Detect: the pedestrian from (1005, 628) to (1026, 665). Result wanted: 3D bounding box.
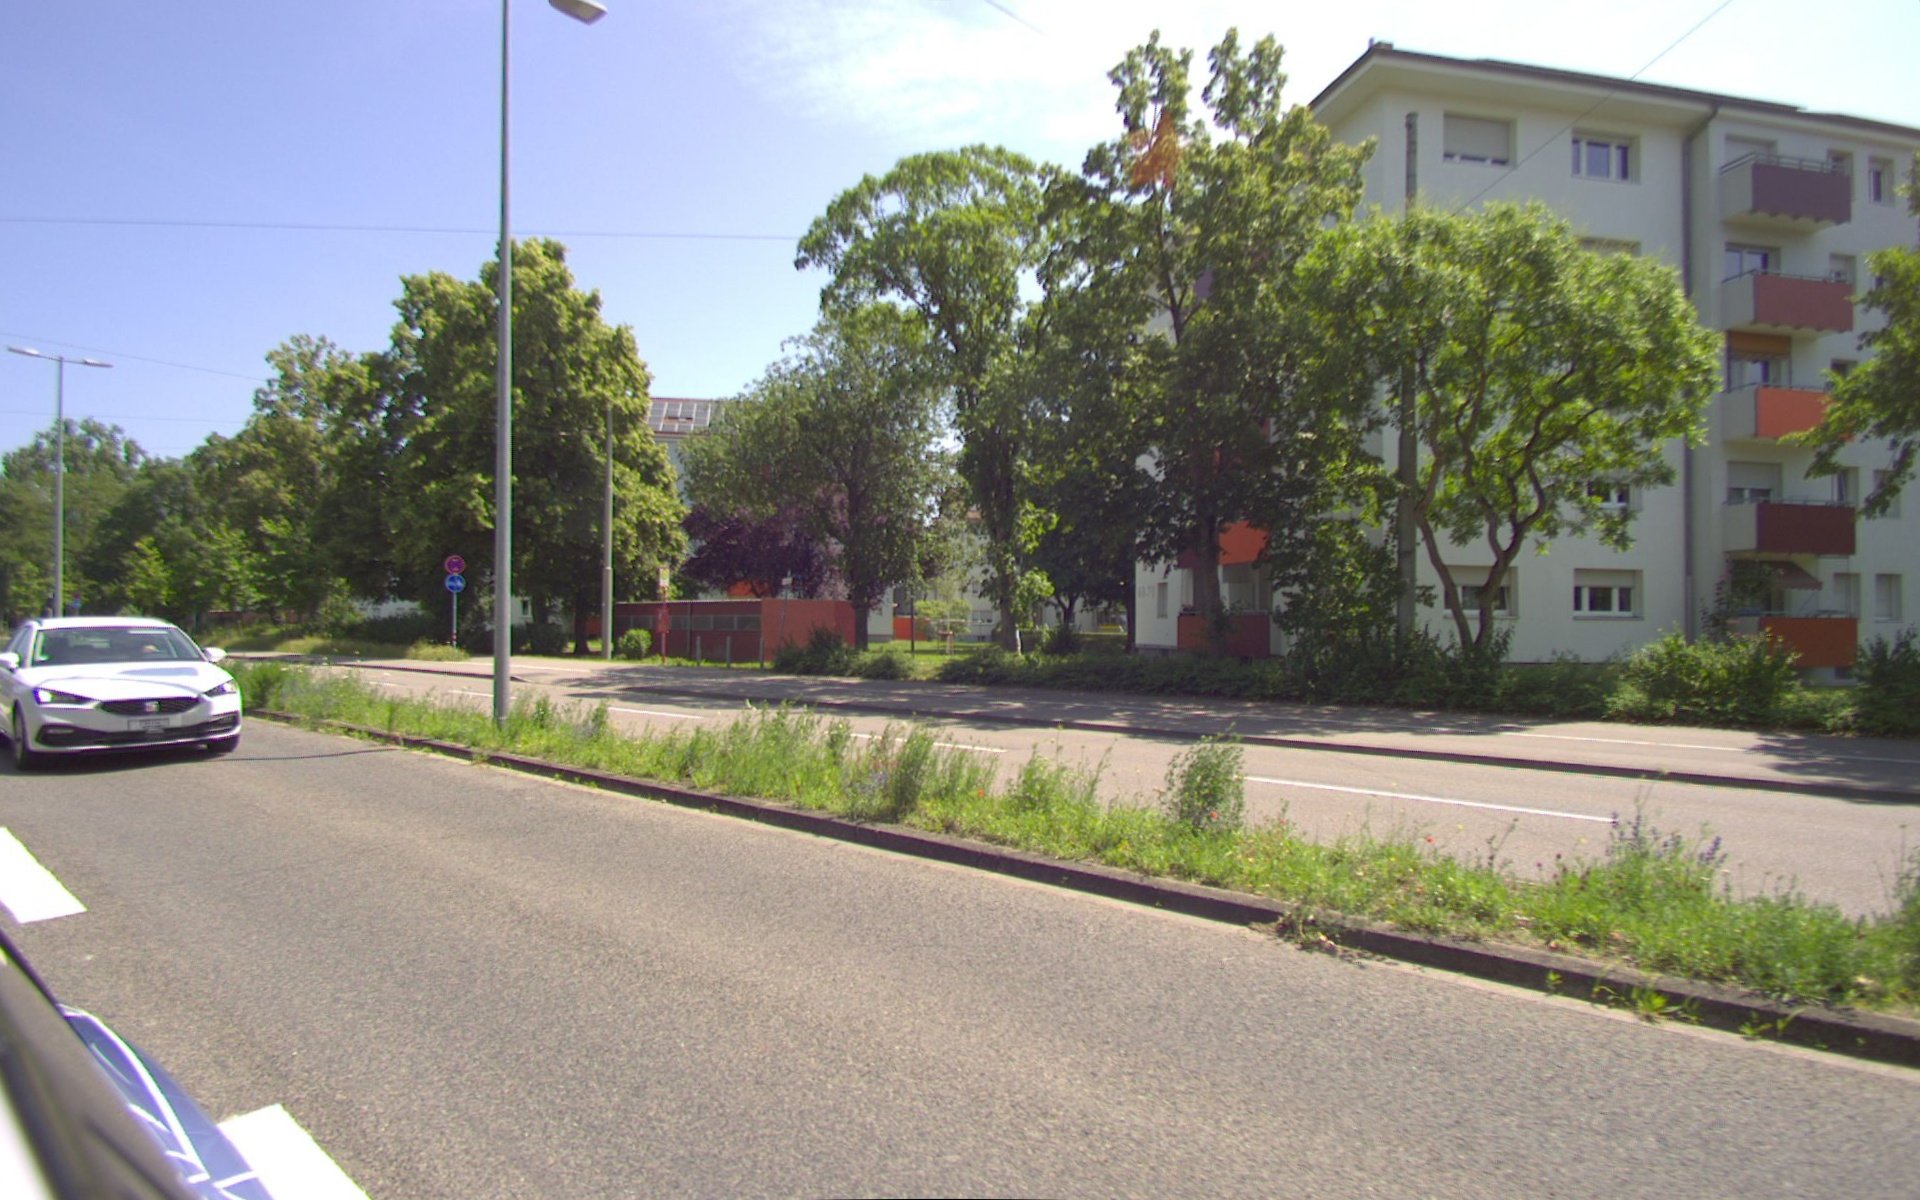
[{"bbox_3d":[2.188,1.826,40.088,0.688,1.442,0.468,-2,-3,42],"label":"pedestrian"}]

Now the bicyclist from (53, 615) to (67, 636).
[{"bbox_3d":[-61.183,1.735,68.785,0.754,1.356,0.539,-1,-3,37],"label":"bicyclist"}]

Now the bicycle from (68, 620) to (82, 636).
[{"bbox_3d":[-60.598,1.918,69.286,1.378,1.103,0.548,0,0,40],"label":"bicycle"}]

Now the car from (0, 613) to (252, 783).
[{"bbox_3d":[-9.318,0.910,10.969,4.109,1.479,1.749,-1,-1,41],"label":"car"}]

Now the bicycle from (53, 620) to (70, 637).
[{"bbox_3d":[-60.806,1.926,68.466,1.613,1.142,0.582,-1,-3,39],"label":"bicycle"}]

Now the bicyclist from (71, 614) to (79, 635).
[{"bbox_3d":[-60.575,1.695,69.247,0.440,1.402,0.354,-2,-1,41],"label":"bicyclist"}]
